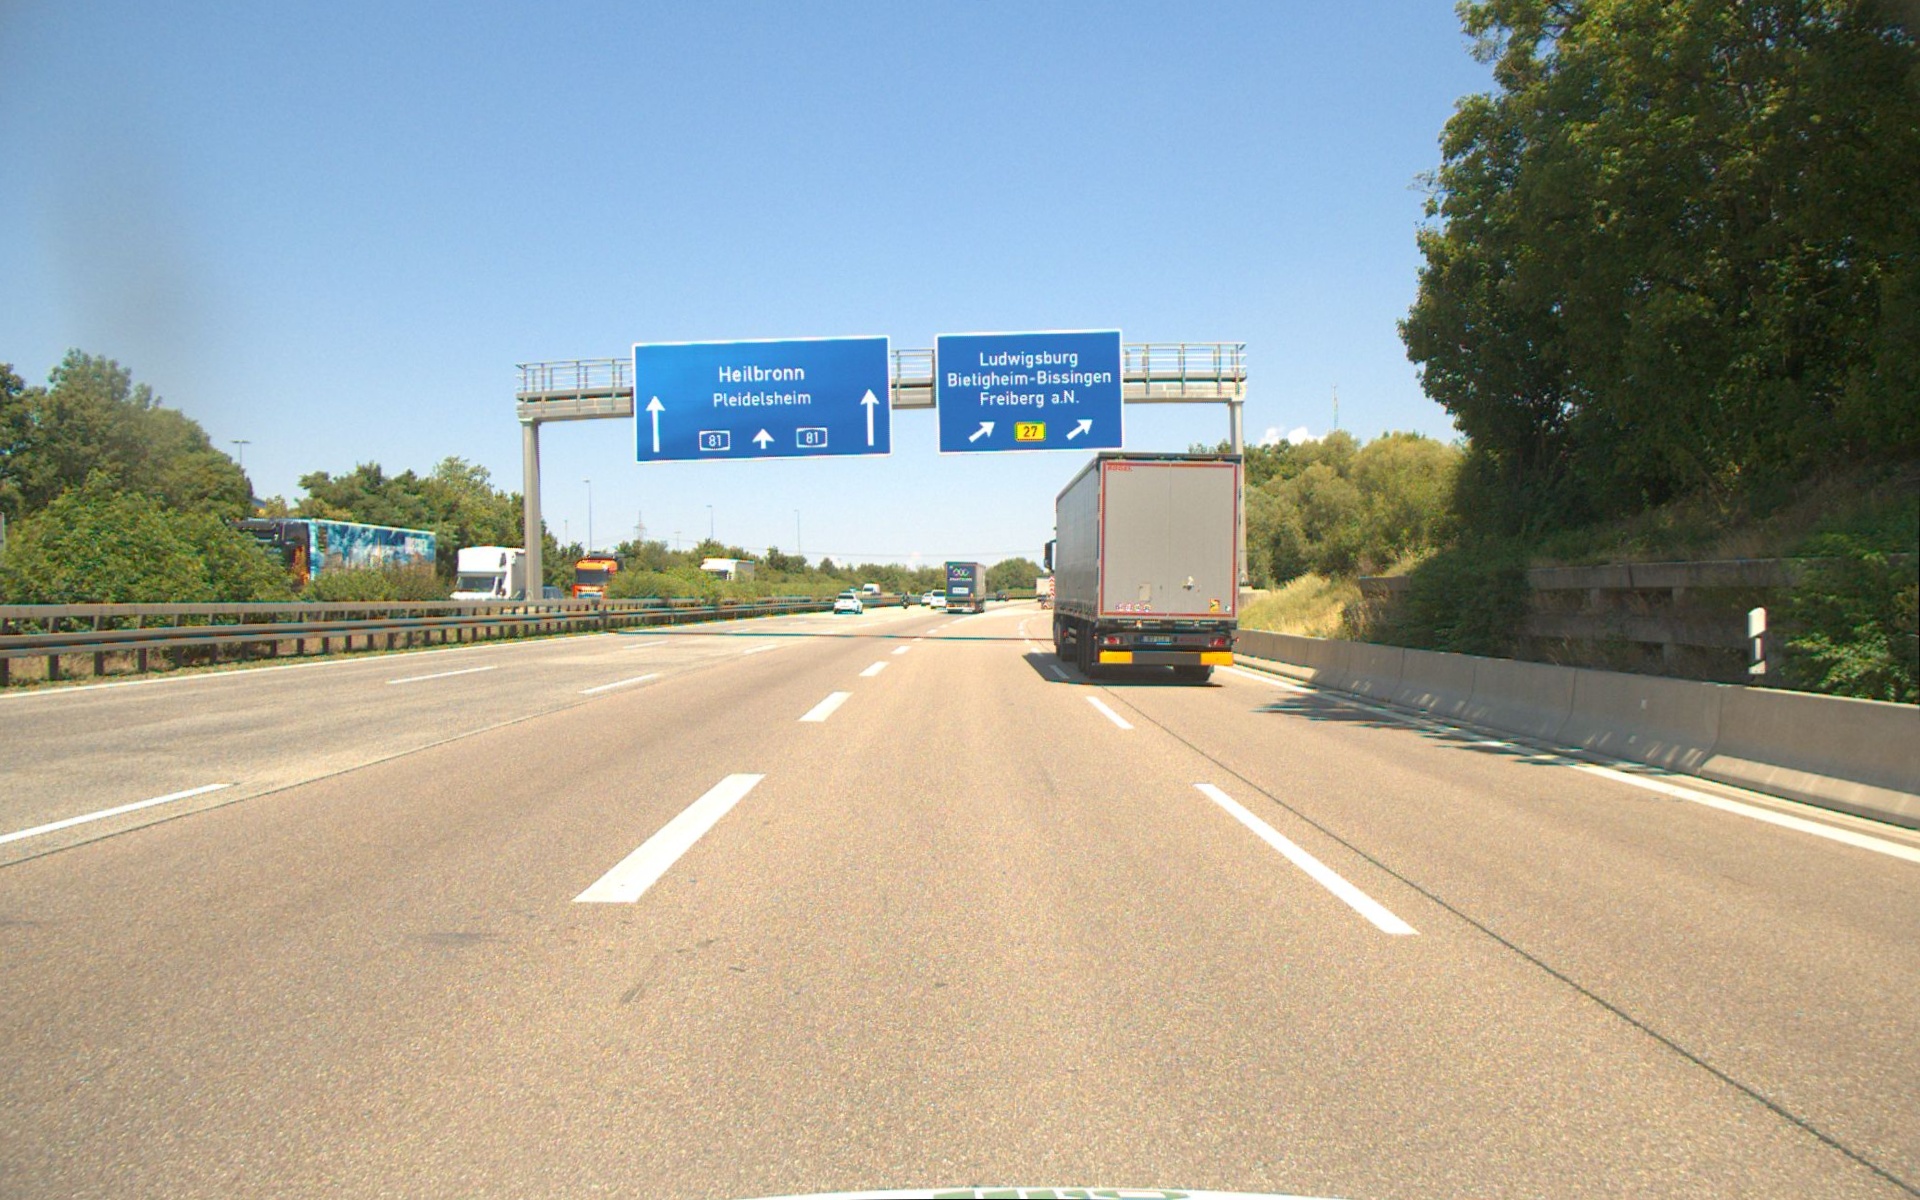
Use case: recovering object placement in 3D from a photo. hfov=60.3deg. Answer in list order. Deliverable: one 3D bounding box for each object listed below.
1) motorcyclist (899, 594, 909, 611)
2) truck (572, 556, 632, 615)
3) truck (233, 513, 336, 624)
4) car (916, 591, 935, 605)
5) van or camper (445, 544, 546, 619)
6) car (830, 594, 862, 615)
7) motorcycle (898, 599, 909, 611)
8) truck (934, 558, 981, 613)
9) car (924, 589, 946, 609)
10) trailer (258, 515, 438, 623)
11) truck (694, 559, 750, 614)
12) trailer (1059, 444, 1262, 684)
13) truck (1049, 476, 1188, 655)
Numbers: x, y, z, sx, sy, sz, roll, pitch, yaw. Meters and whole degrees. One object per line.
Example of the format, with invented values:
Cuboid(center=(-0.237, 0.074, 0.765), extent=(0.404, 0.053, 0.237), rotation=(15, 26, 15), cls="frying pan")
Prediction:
Cuboid(center=(-5.387, 0.222, 157.789), extent=(0.875, 1.625, 1.299), rotation=(0, 1, 1), cls="motorcyclist")
Cuboid(center=(-23.988, -0.966, 110.977), extent=(2.695, 3.860, 5.104), rotation=(1, 0, 2), cls="truck")
Cuboid(center=(-25.253, -1.148, 62.025), extent=(1.952, 3.965, 4.342), rotation=(1, 0, 1), cls="truck")
Cuboid(center=(-3.903, -0.240, 187.594), extent=(1.837, 1.466, 5.127), rotation=(0, -1, 3), cls="car")
Cuboid(center=(-21.453, -0.842, 76.813), extent=(2.424, 3.277, 7.823), rotation=(1, 0, 0), cls="van or camper")
Cuboid(center=(-8.170, 0.356, 118.788), extent=(1.745, 1.466, 4.670), rotation=(0, 0, 2), cls="car")
Cuboid(center=(-5.376, 0.496, 157.832), extent=(0.894, 1.108, 2.850), rotation=(0, 0, 1), cls="motorcycle")
Cuboid(center=(-0.086, -1.172, 138.528), extent=(3.670, 4.345, 14.497), rotation=(1, 0, 1), cls="truck")
Cuboid(center=(-2.409, -0.141, 162.363), extent=(1.890, 1.884, 4.694), rotation=(-1, 1, 2), cls="car")
Cuboid(center=(-25.098, -1.183, 68.821), extent=(1.952, 3.991, 14.004), rotation=(1, 0, 1), cls="trailer")
Cuboid(center=(-19.211, -1.091, 134.179), extent=(2.695, 4.281, 10.405), rotation=(1, 0, 2), cls="truck")
Cuboid(center=(3.789, -0.741, 34.349), extent=(2.867, 4.085, 12.040), rotation=(0, 1, 1), cls="trailer")
Cuboid(center=(3.856, -0.875, 41.902), extent=(2.867, 4.085, 7.584), rotation=(0, 1, 1), cls="truck")
